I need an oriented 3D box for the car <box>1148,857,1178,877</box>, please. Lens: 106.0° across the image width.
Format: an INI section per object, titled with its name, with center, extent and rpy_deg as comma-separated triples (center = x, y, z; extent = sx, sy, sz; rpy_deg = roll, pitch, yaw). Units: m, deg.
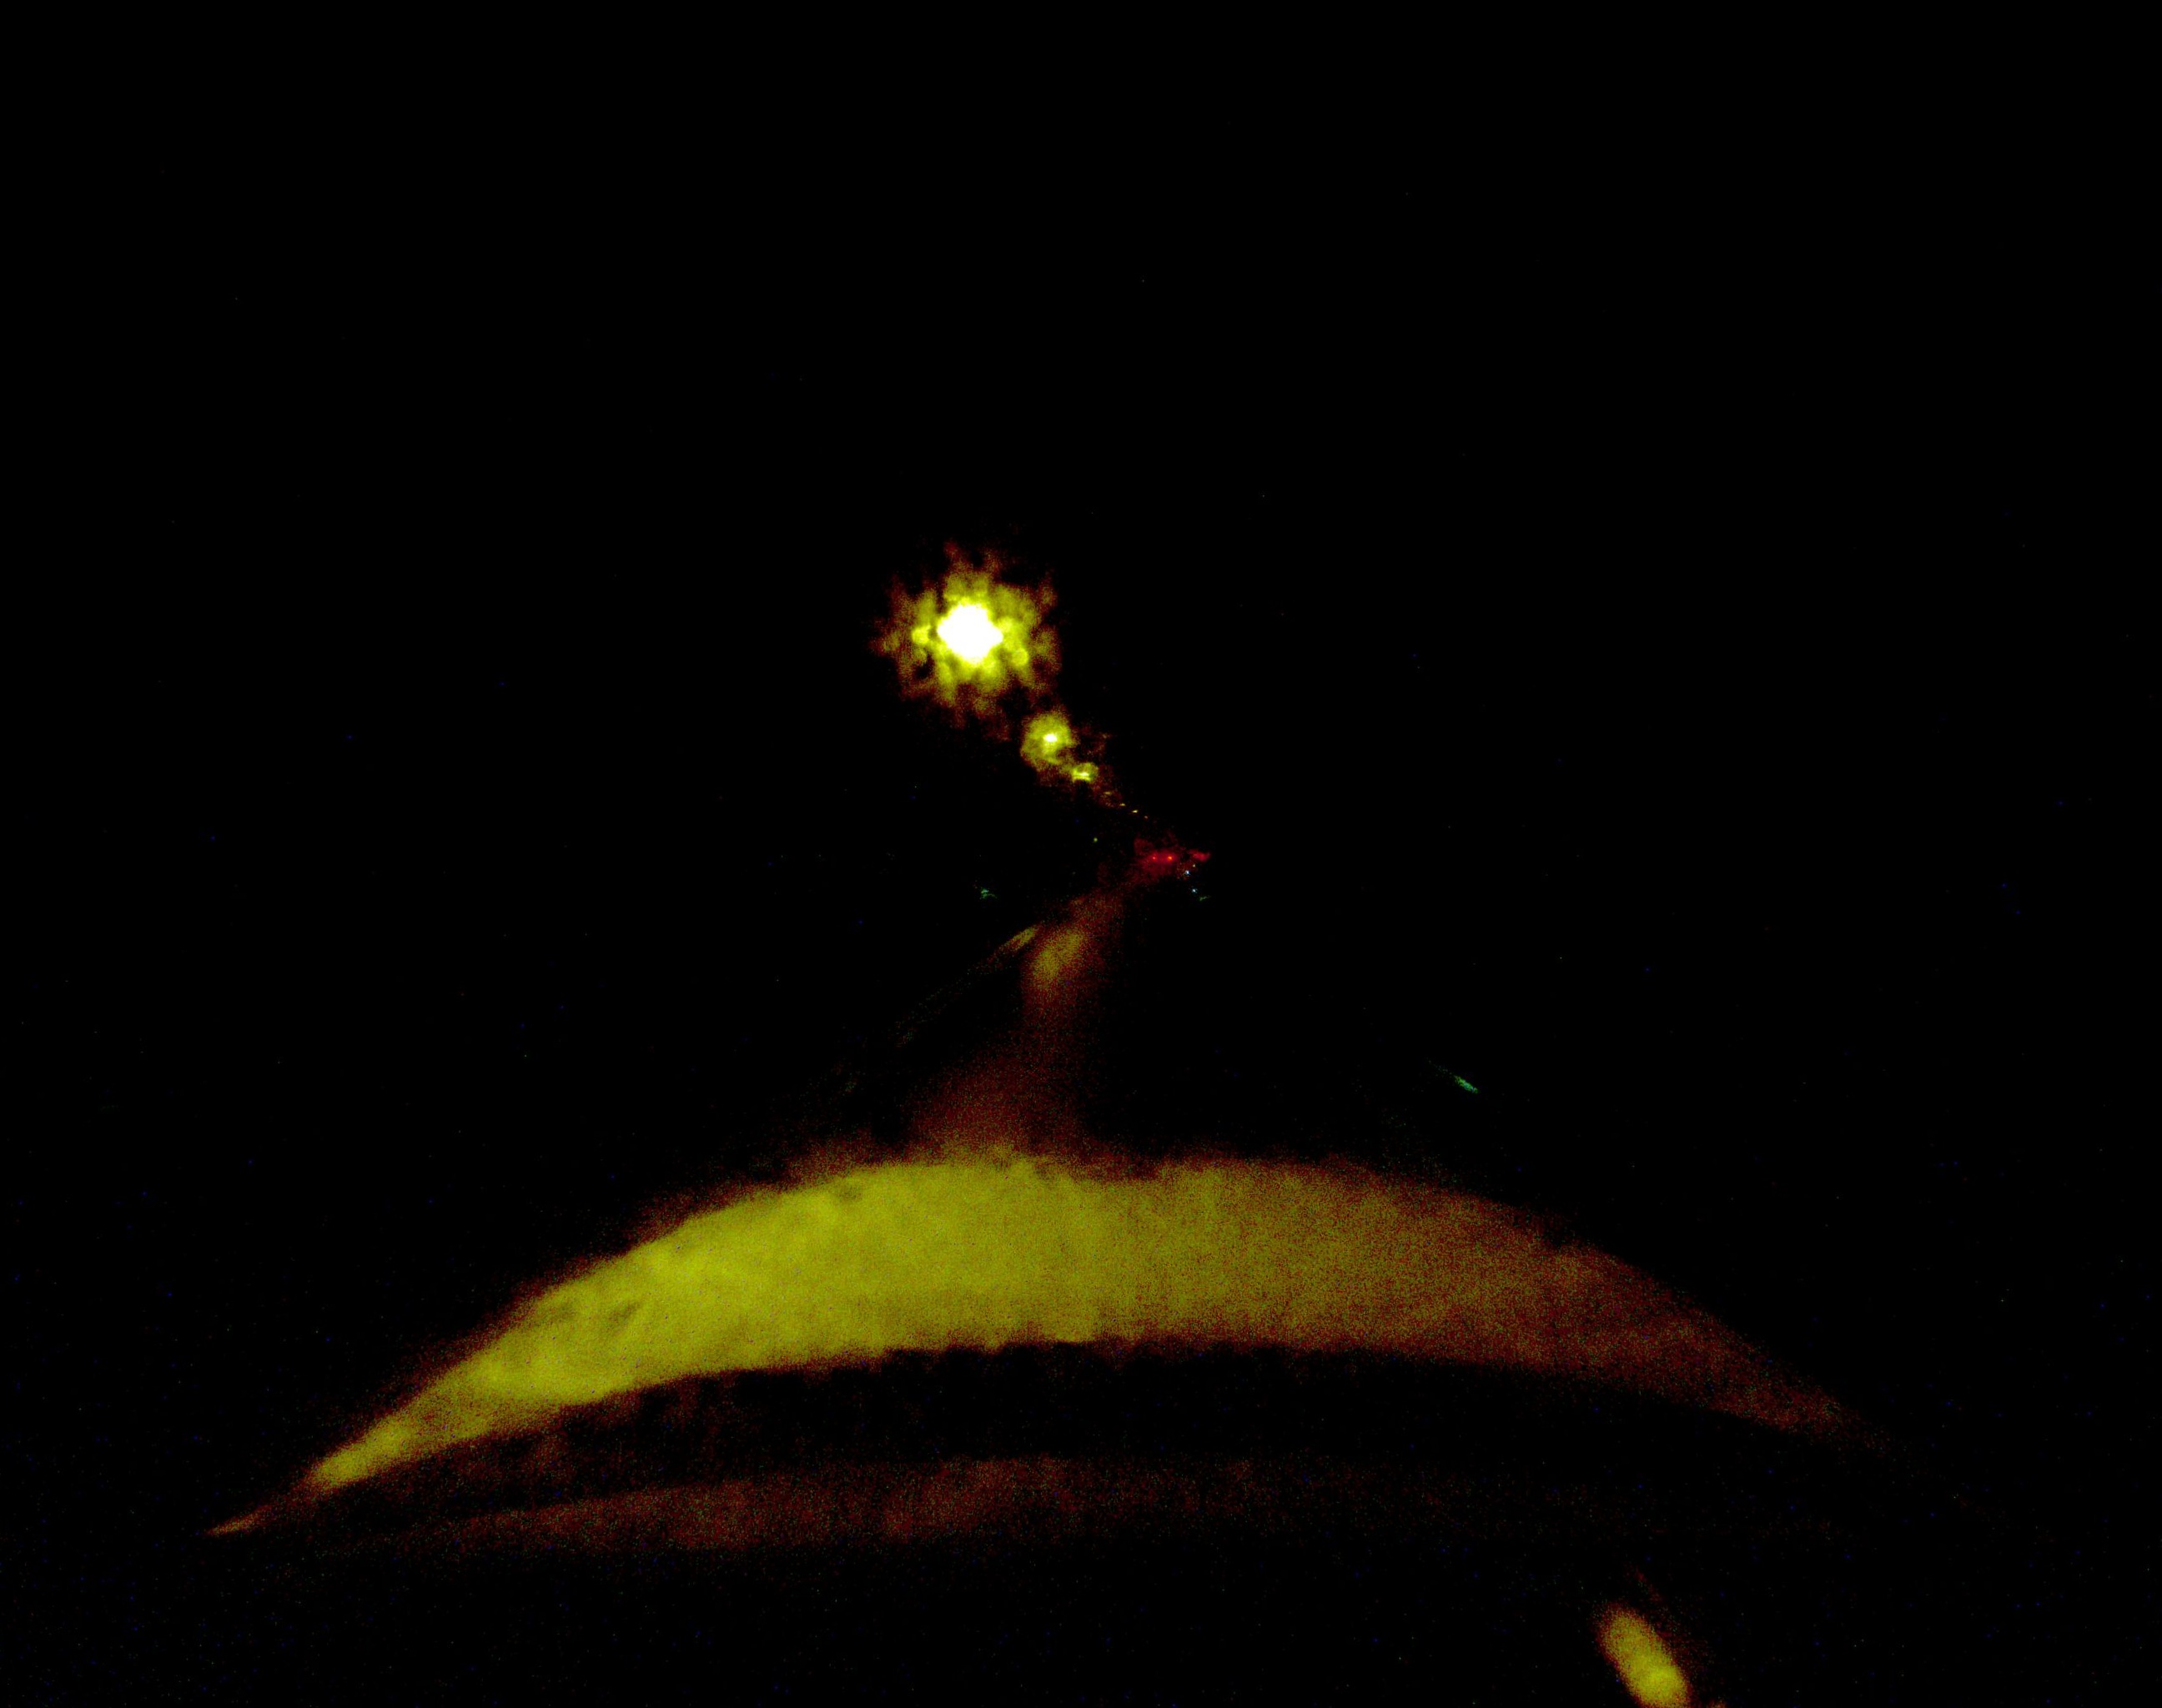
[car]
center = 7.078, 1.068, 70.118
extent = 2.075, 1.662, 4.013
rpy_deg = -1, -1, 12
